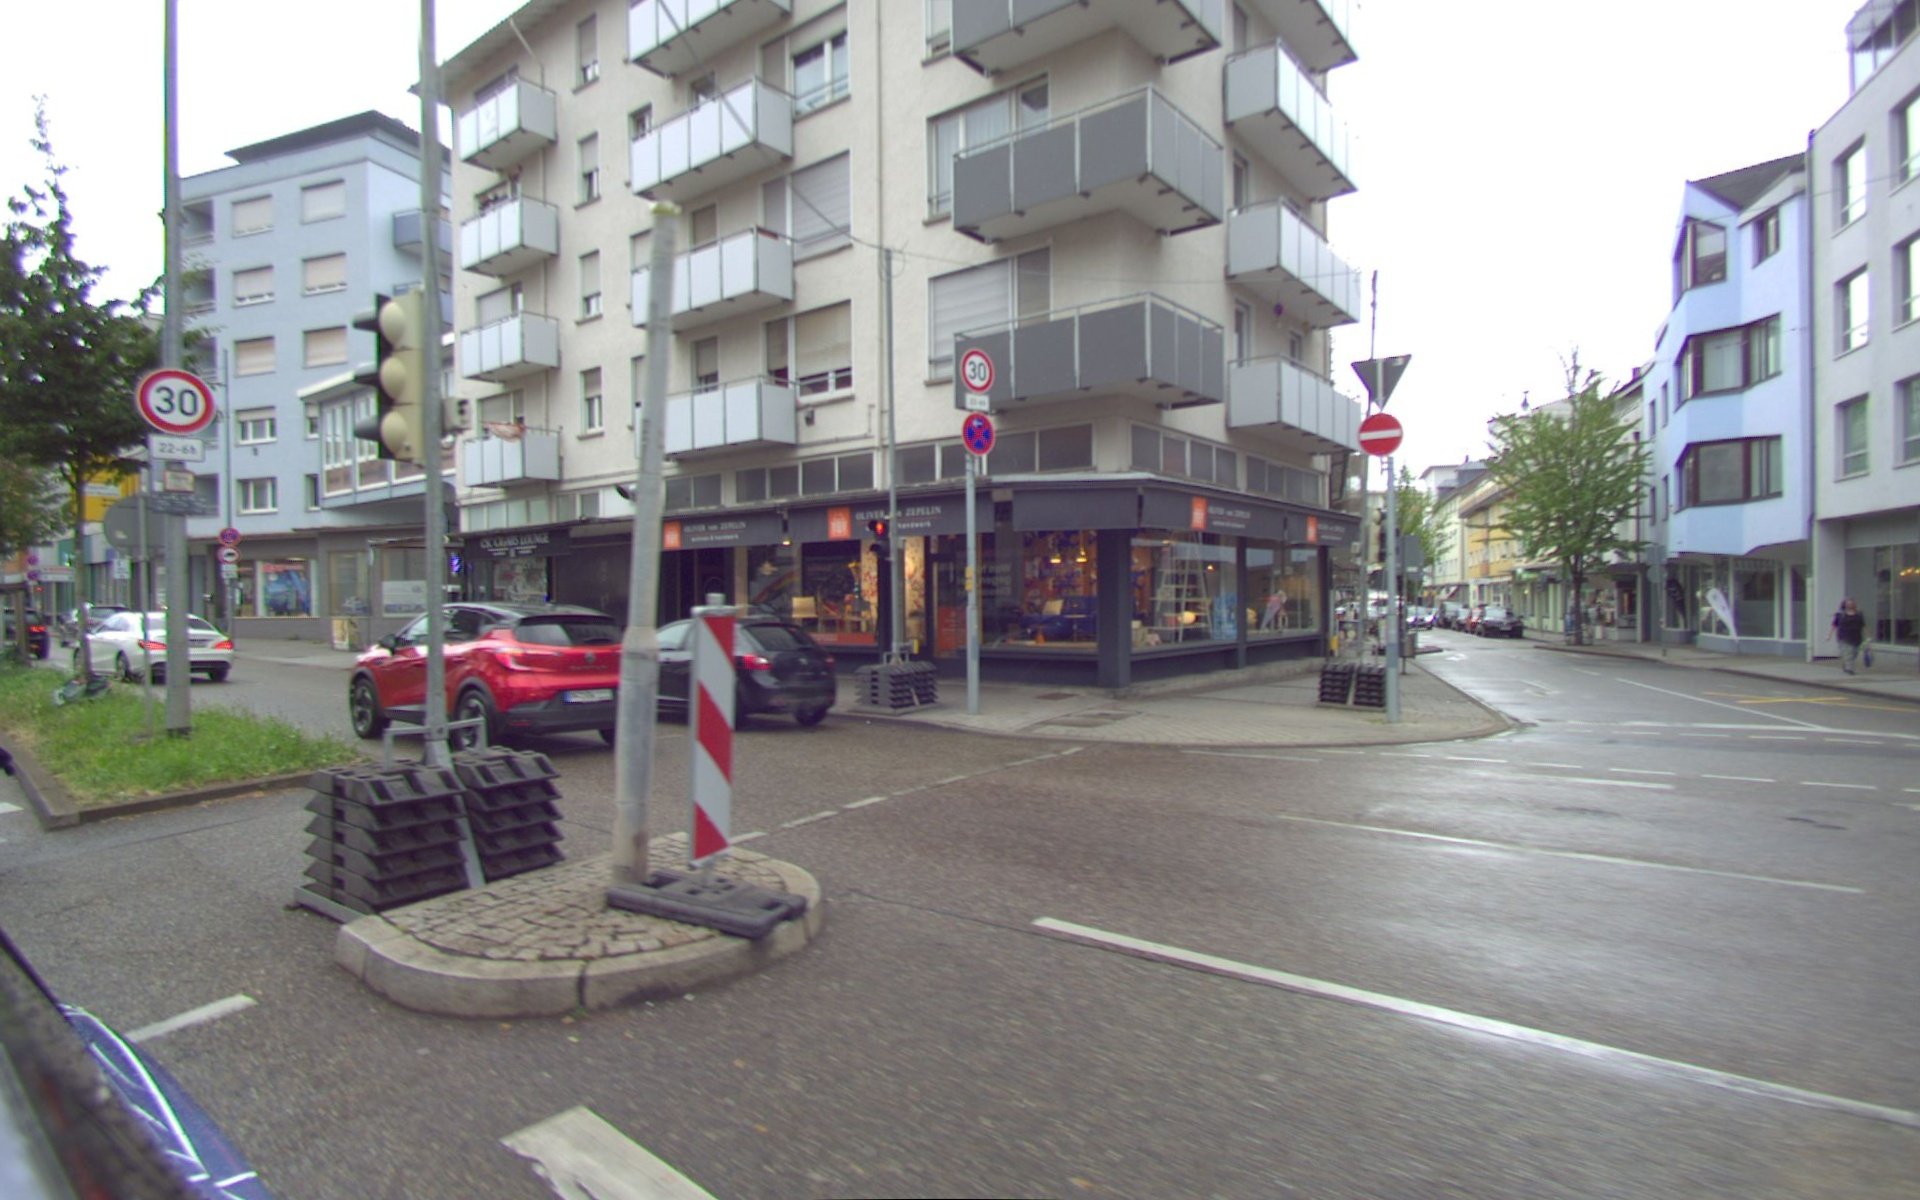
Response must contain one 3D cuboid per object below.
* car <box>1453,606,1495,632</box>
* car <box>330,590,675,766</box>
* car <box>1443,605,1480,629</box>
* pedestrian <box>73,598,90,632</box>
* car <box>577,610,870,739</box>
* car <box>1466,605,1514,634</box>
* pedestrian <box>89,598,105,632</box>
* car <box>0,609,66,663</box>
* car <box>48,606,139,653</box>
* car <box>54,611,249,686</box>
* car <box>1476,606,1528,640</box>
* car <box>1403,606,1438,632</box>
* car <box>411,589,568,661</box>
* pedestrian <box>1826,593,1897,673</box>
[{"bbox_3d":[32.604,1.182,64.245,1.986,1.588,3.971,0,0,22],"label":"car"},{"bbox_3d":[-5.178,0.752,11.248,4.085,1.606,1.829,-1,-2,38],"label":"car"},{"bbox_3d":[34.756,1.140,70.201,1.986,1.588,3.971,0,0,22],"label":"car"},{"bbox_3d":[-44.396,0.779,51.130,0.530,1.701,0.520,1,-1,39],"label":"pedestrian"},{"bbox_3d":[-3.315,0.927,13.835,3.996,1.508,1.828,-1,-3,39],"label":"car"},{"bbox_3d":[30.683,1.098,58.685,1.986,1.588,3.971,0,0,22],"label":"car"},{"bbox_3d":[-44.007,0.783,51.616,0.530,1.701,0.506,1,-1,39],"label":"pedestrian"},{"bbox_3d":[-26.999,1.002,28.648,4.152,1.452,1.799,-1,-3,39],"label":"car"},{"bbox_3d":[-31.659,1.079,36.927,4.021,1.601,1.755,-1,-3,38],"label":"car"},{"bbox_3d":[-17.014,0.986,21.233,4.602,1.428,1.830,-1,-3,33],"label":"car"},{"bbox_3d":[28.431,1.168,53.224,1.987,1.659,3.970,0,0,22],"label":"car"},{"bbox_3d":[31.518,1.277,69.355,1.986,1.659,3.971,0,0,21],"label":"car"},{"bbox_3d":[-14.324,0.727,30.957,1.893,2.070,3.947,-1,-1,40],"label":"car"},{"bbox_3d":[19.682,0.716,22.110,0.890,1.665,0.559,-5,-3,20],"label":"pedestrian"}]
